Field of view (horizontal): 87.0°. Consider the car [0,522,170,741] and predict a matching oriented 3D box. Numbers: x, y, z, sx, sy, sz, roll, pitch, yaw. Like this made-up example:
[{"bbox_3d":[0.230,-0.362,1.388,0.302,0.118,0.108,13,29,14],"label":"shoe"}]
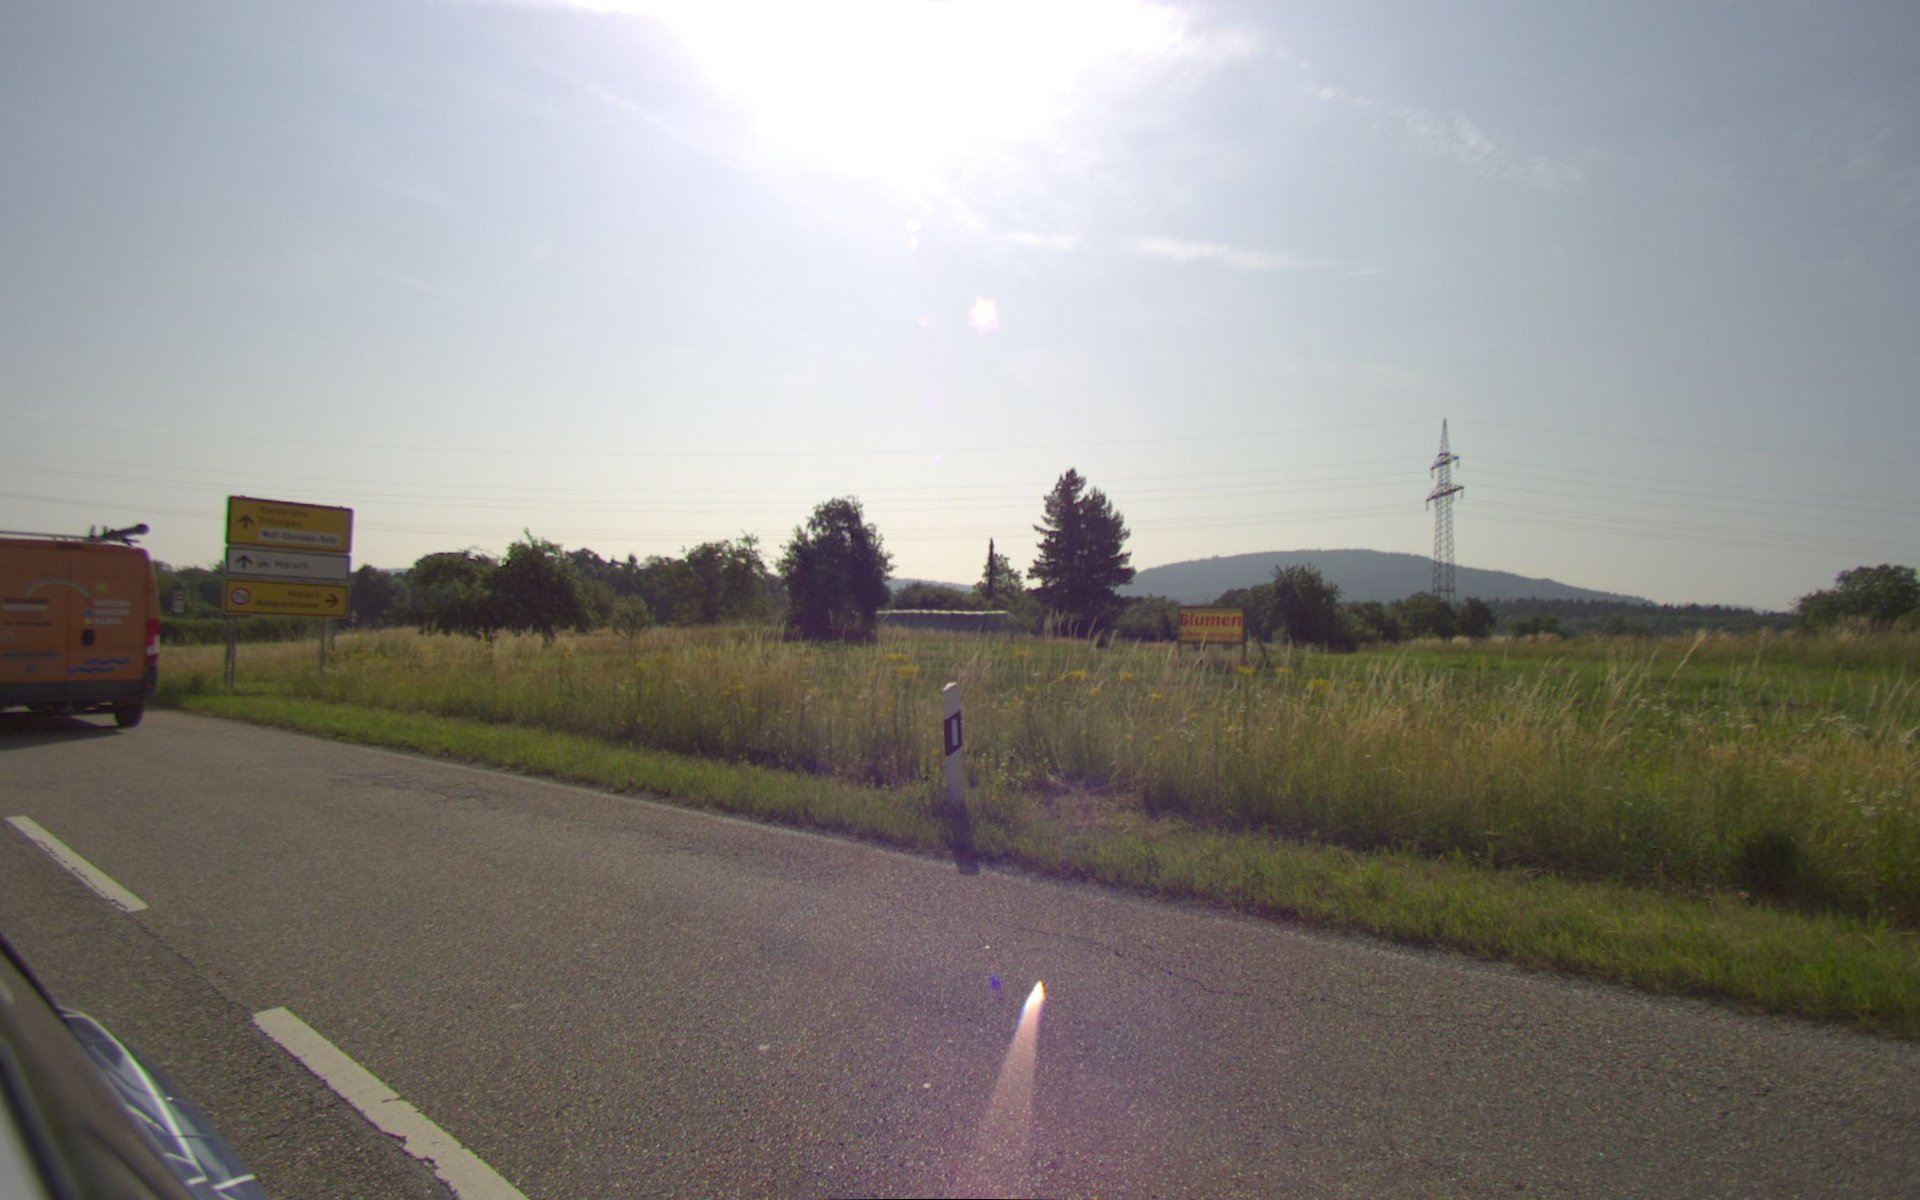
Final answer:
[{"bbox_3d":[-13.584,0.443,14.636,5.260,2.716,2.104,-1,-2,38],"label":"car"}]
